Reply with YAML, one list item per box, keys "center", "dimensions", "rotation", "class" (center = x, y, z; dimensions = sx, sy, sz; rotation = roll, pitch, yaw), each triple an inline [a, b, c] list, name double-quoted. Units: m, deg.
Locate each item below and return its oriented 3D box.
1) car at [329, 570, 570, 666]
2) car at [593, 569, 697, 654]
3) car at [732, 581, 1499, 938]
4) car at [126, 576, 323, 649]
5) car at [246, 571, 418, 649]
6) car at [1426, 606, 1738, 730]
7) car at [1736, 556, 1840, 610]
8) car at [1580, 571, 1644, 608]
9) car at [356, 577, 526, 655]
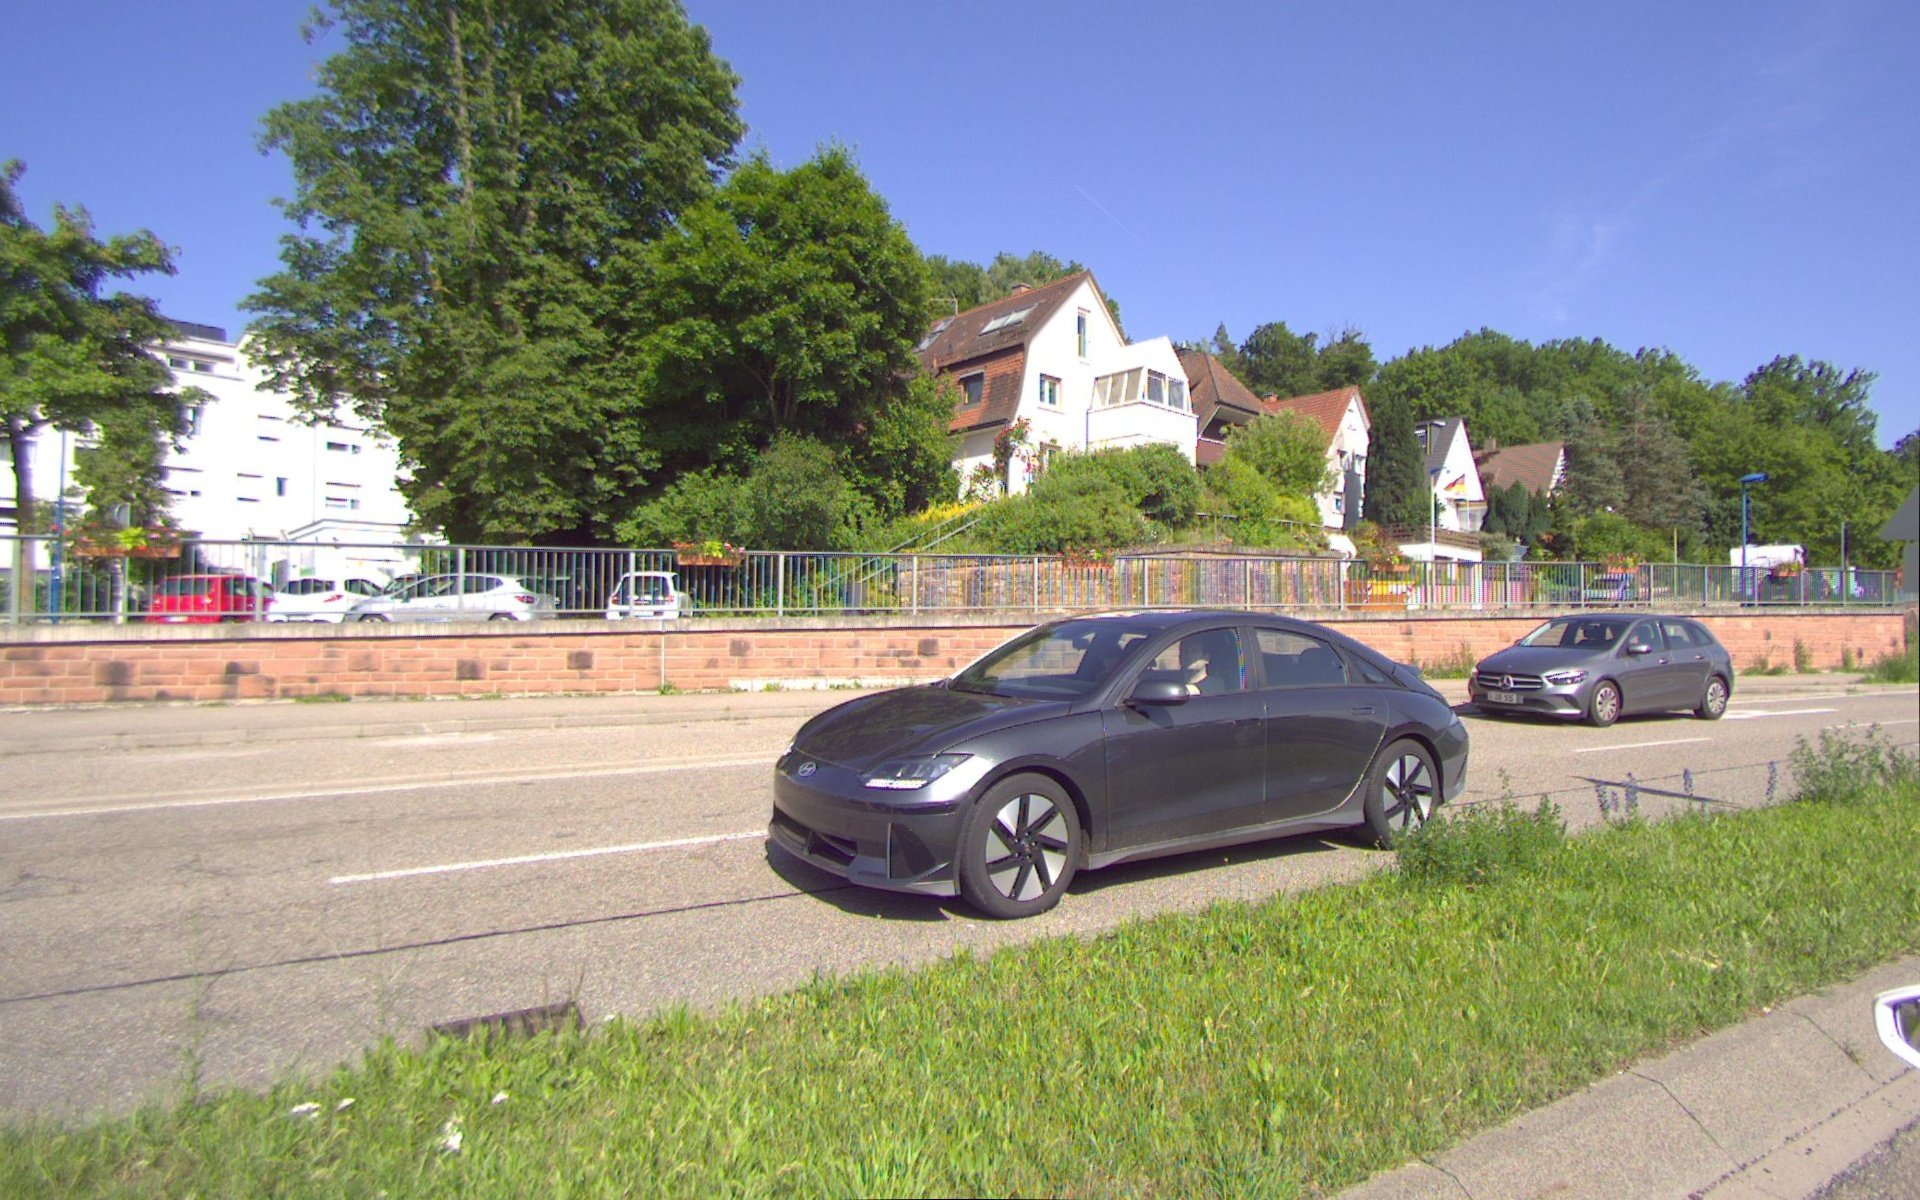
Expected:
- center: [-10.358, 0.368, 20.610]
  dimensions: [3.922, 1.813, 1.921]
  rotation: [1, -1, -2]
  class: "car"
- center: [-7.628, 0.214, 24.683]
  dimensions: [1.879, 1.901, 3.993]
  rotation: [0, 1, -9]
  class: "car"
- center: [1.143, 0.702, 6.197]
  dimensions: [4.663, 1.490, 1.782]
  rotation: [1, 0, -32]
  class: "car"
- center: [-17.441, 0.235, 24.096]
  dimensions: [1.877, 1.581, 3.998]
  rotation: [1, 1, -2]
  class: "car"
- center: [-15.045, 0.164, 24.352]
  dimensions: [1.877, 1.724, 3.996]
  rotation: [0, 2, -5]
  class: "car"
- center: [9.225, 0.907, 14.844]
  dimensions: [4.453, 1.585, 1.985]
  rotation: [1, 0, -28]
  class: "car"
- center: [31.767, -0.666, 38.517]
  dimensions: [4.687, 1.946, 2.006]
  rotation: [0, 2, -37]
  class: "car"
- center: [31.213, -0.466, 48.054]
  dimensions: [1.875, 1.651, 3.976]
  rotation: [0, -1, 44]
  class: "car"
- center: [-12.188, 0.304, 23.929]
  dimensions: [1.961, 1.694, 3.999]
  rotation: [1, 1, 0]
  class: "car"
